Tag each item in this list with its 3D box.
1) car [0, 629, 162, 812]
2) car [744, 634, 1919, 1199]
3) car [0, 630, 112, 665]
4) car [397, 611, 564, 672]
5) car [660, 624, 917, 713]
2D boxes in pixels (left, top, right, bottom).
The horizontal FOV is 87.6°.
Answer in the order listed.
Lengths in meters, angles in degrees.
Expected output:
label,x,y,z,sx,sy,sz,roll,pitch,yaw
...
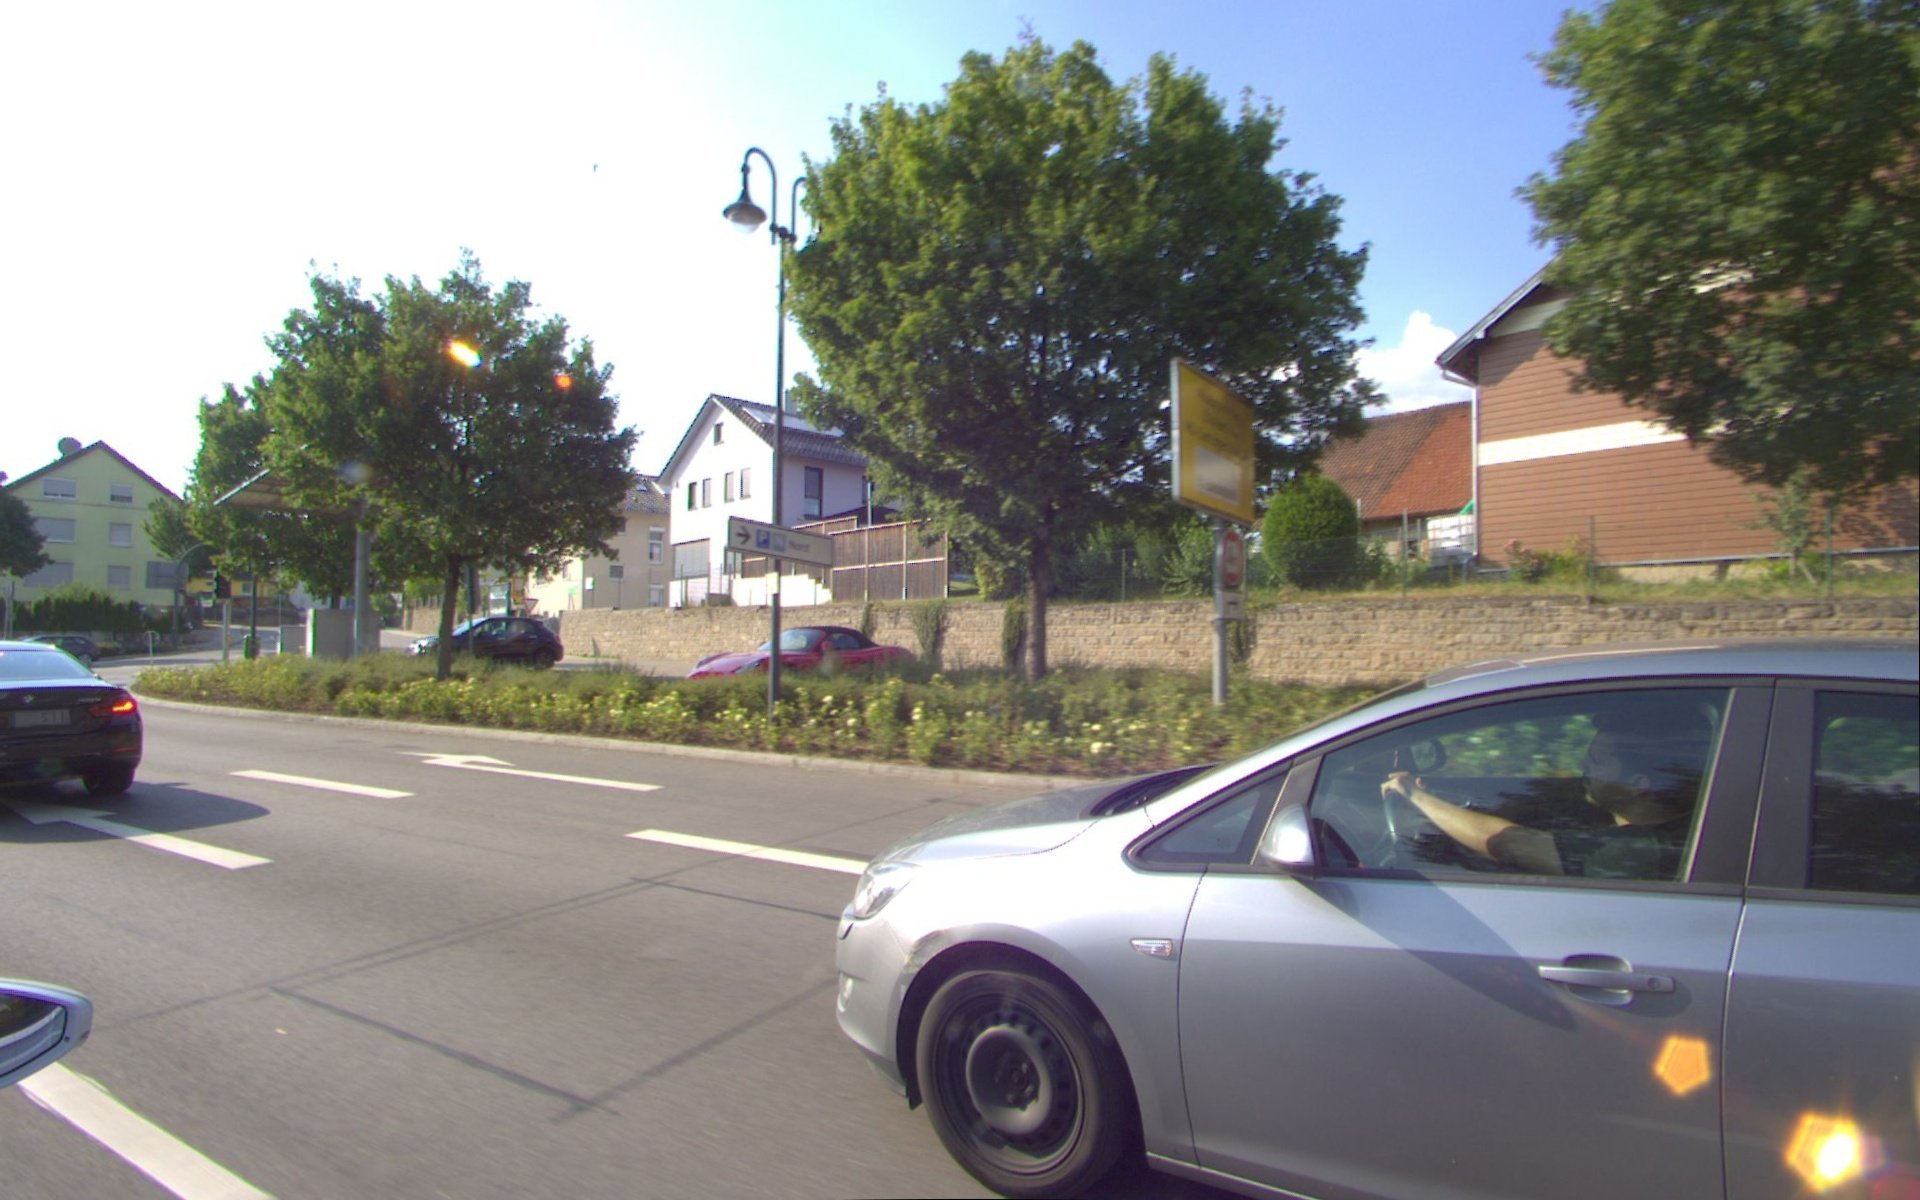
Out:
label,x,y,z,sx,sy,sz,roll,pitch,yaw
car,-9.116,0.968,9.002,4.286,1.406,1.812,-1,-2,33
car,1.543,0.829,2.682,4.107,1.460,1.741,-1,-2,32
car,-38.239,1.970,41.705,1.622,1.404,4.180,0,-2,23
car,-13.783,1.186,28.901,1.835,1.628,3.965,-1,-3,44
car,-2.721,1.073,16.583,1.833,1.288,3.970,-1,-3,41
